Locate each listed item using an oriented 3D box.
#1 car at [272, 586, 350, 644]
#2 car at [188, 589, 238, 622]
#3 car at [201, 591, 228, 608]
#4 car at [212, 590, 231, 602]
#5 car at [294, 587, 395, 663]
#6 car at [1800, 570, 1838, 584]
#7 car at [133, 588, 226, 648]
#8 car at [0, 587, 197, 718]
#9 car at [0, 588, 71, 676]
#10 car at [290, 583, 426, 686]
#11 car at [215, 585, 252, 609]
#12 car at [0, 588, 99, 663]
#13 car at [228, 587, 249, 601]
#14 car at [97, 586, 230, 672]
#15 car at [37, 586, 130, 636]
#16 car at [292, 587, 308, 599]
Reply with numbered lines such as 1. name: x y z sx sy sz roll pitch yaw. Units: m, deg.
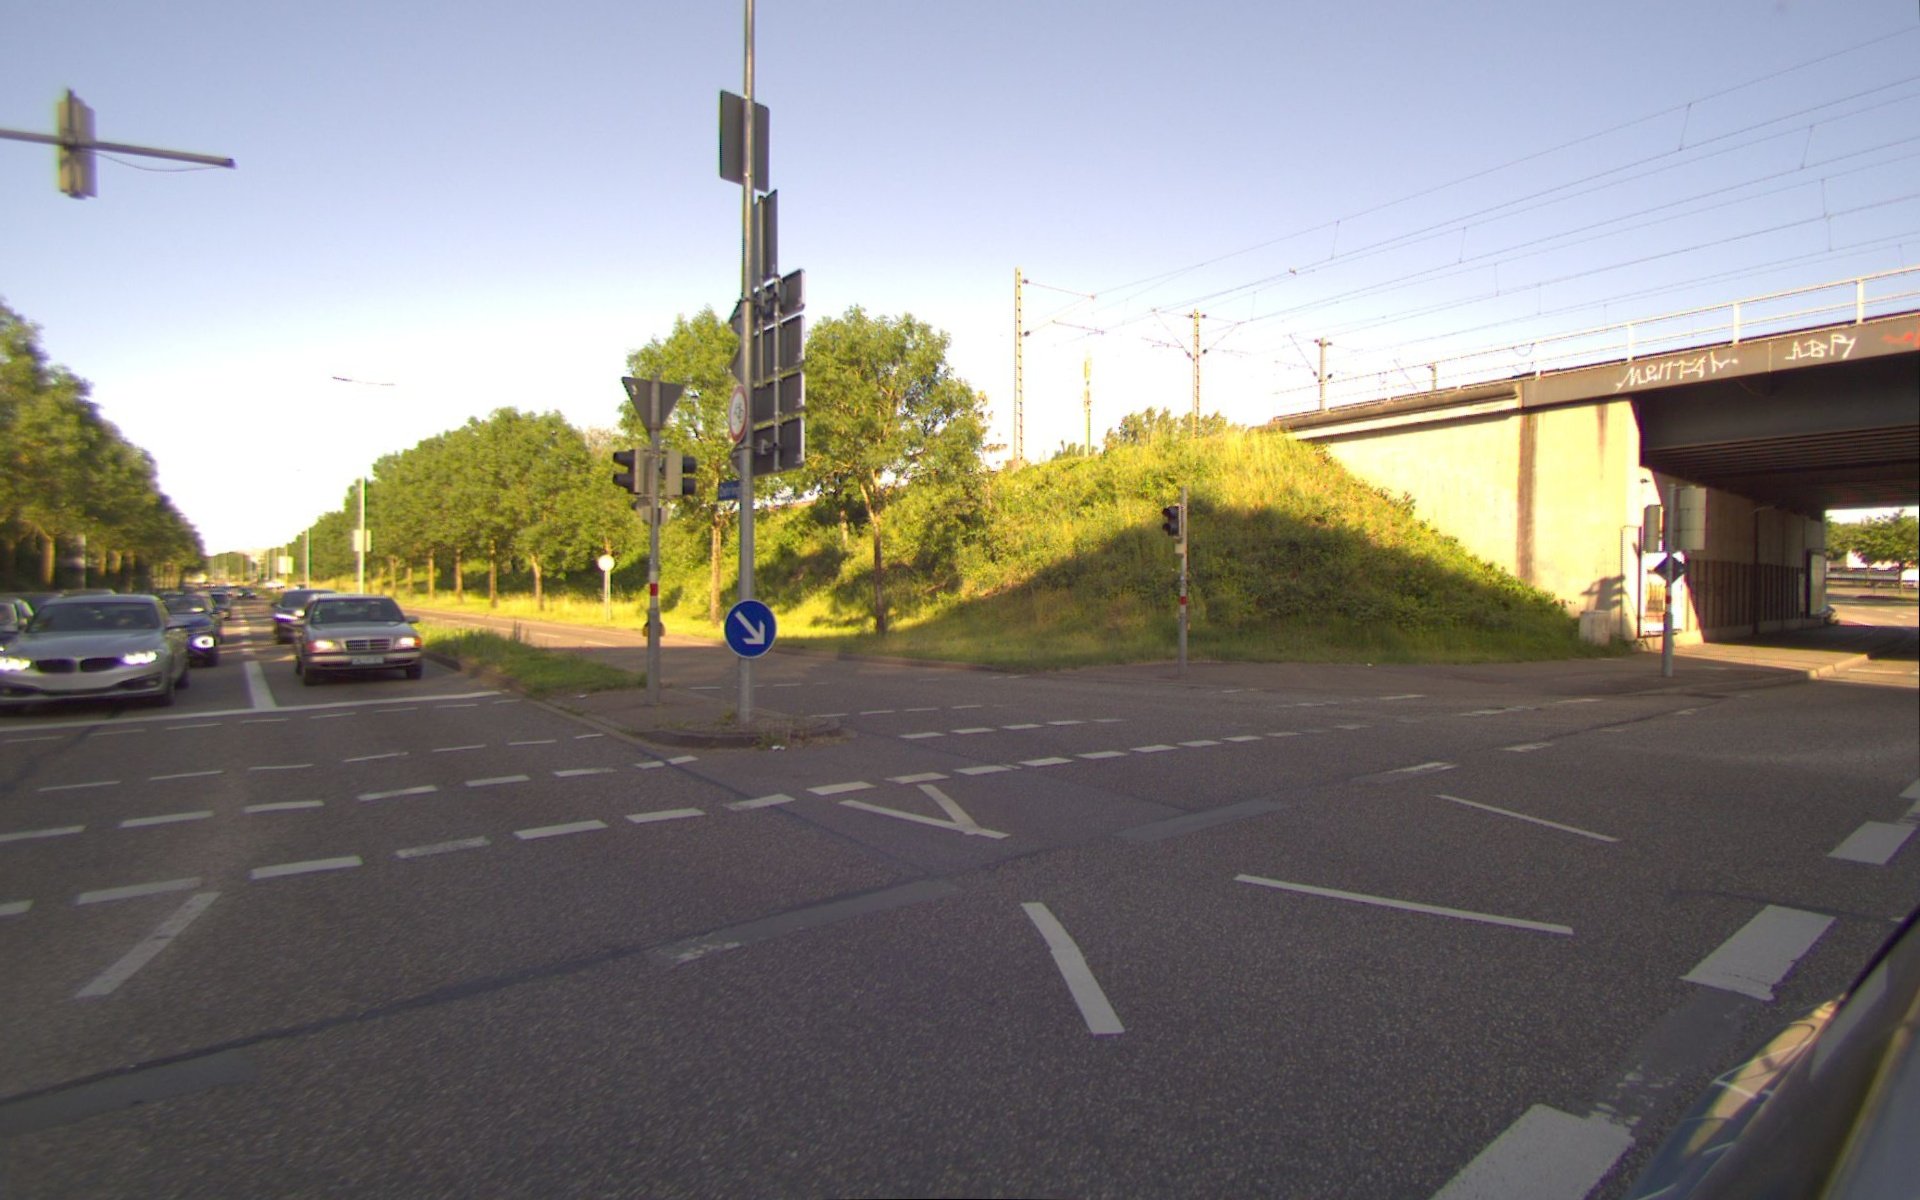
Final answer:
1. car: -19.393 0.407 30.183 1.793 1.533 4.564 -2 1 -34
2. car: -37.580 0.280 50.978 1.793 1.533 4.564 -2 1 -34
3. car: -71.300 -0.087 96.819 1.793 1.533 4.564 -2 1 -34
4. car: -96.390 -0.505 132.101 1.793 1.533 4.564 -2 1 -34
5. car: -14.433 0.518 23.633 1.793 1.533 4.564 -2 1 -34
6. car: 97.566 -2.630 114.992 1.598 1.538 3.812 0 1 12
7. car: -22.408 0.467 29.197 1.793 1.533 4.564 -2 1 -34
8. car: -12.224 0.633 14.478 1.793 1.533 4.564 -2 1 -34
9. car: -18.433 0.581 19.152 1.793 1.533 4.564 -2 1 -34
10. car: -10.695 0.518 17.816 1.793 1.533 4.564 -2 1 -34
11. car: -48.323 -0.200 67.347 1.793 1.533 4.564 -2 1 -34
12. car: -21.219 0.543 23.138 1.793 1.533 4.564 -2 1 -34
13. car: -84.286 -0.713 118.203 1.793 1.533 4.564 -2 1 -34
14. car: -16.491 0.533 21.150 1.793 1.533 4.564 -2 1 -34
15. car: -29.621 0.335 34.341 1.793 1.533 4.564 -2 1 -34
16. car: -89.035 -0.927 136.516 1.793 1.533 4.564 -2 1 -34
